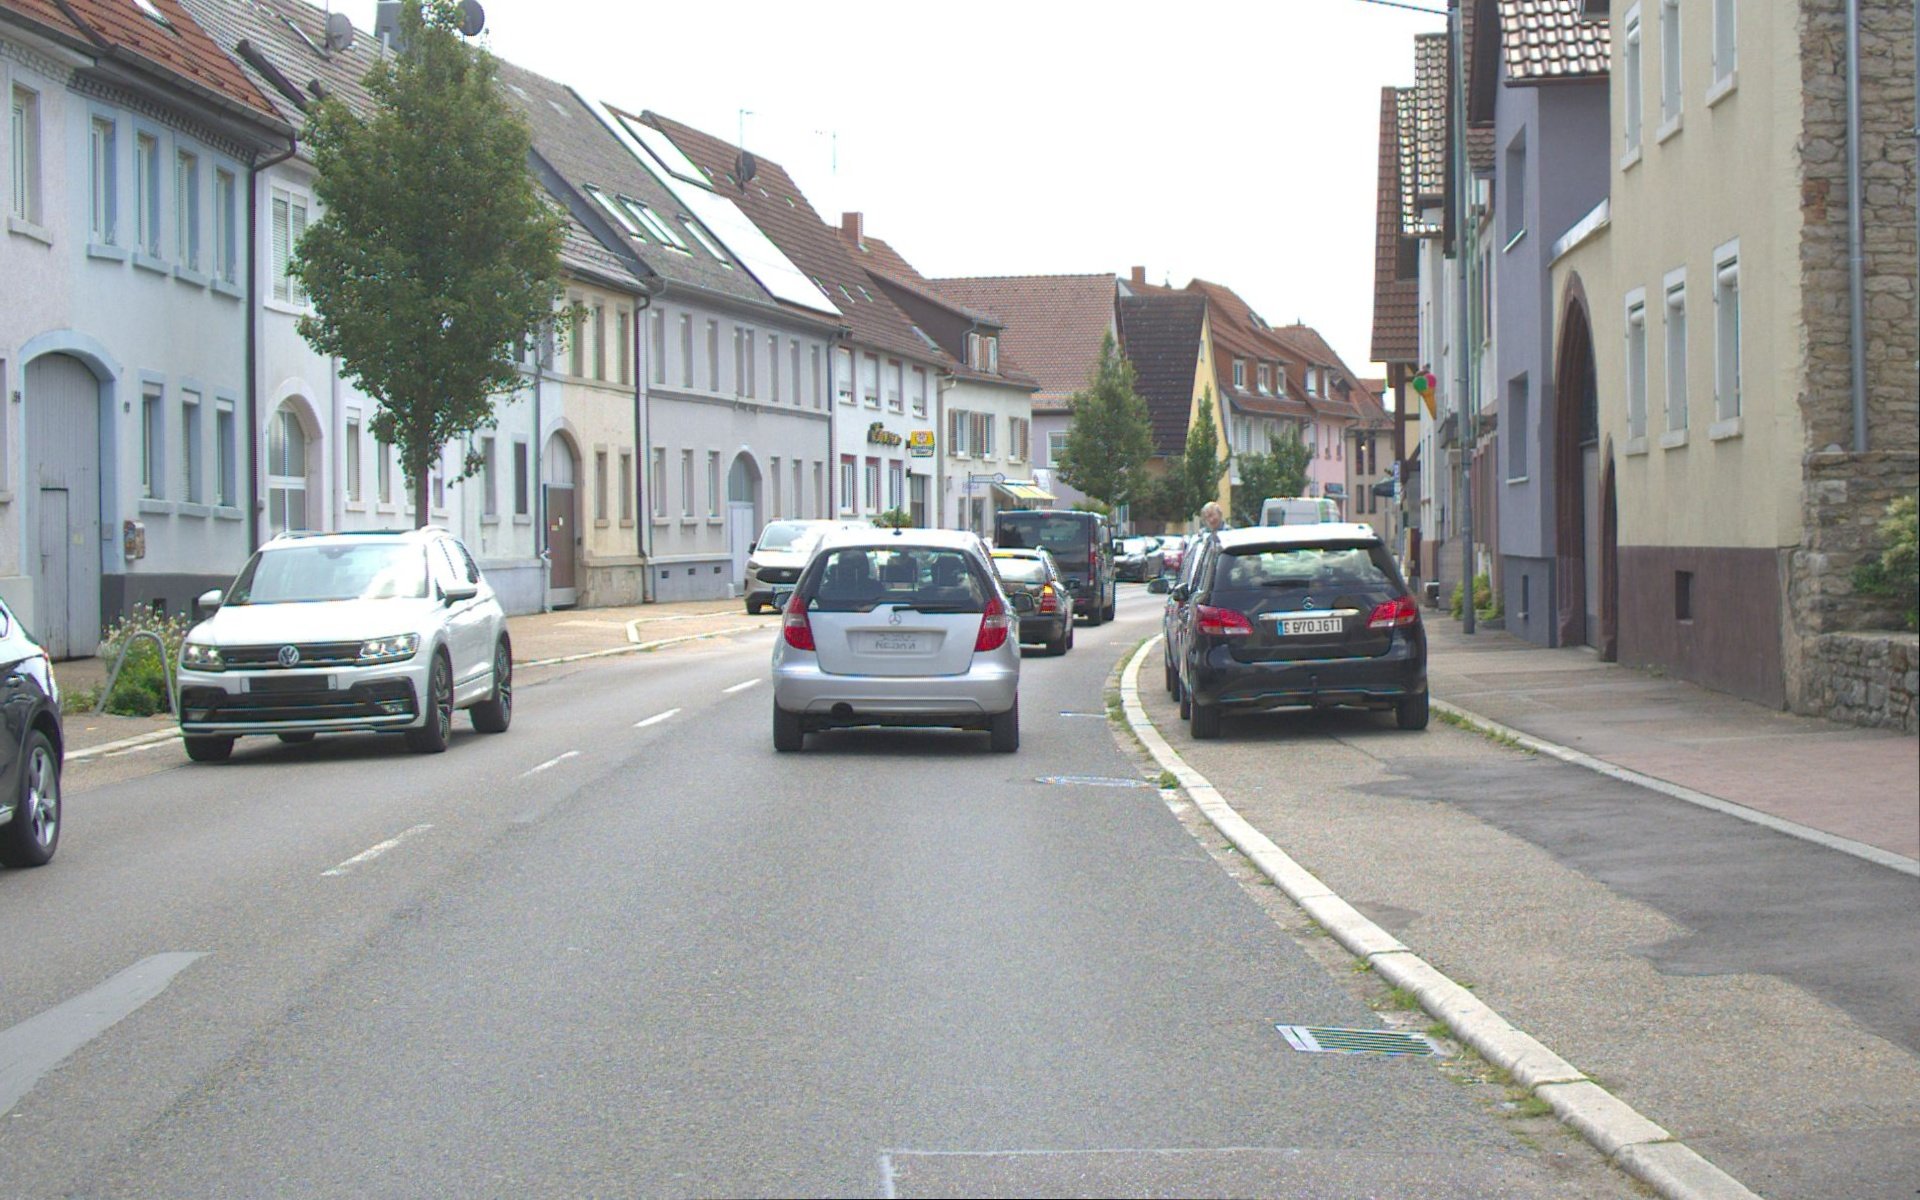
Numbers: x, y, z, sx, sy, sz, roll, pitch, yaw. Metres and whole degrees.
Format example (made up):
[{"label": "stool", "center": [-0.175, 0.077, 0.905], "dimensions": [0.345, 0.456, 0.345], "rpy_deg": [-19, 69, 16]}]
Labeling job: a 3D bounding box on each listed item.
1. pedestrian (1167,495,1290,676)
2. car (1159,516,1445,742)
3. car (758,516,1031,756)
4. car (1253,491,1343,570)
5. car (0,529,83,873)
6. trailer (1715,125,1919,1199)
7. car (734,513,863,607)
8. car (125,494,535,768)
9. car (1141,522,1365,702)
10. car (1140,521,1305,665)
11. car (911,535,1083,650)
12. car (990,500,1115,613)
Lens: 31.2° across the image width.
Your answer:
[{"label": "pedestrian", "center": [2.776, -0.158, 35.396], "dimensions": [1.095, 1.815, 1.469], "rpy_deg": [-1, 1, 10]}, {"label": "car", "center": [2.600, 0.164, 26.650], "dimensions": [1.994, 1.554, 4.000], "rpy_deg": [-2, 1, 4]}, {"label": "car", "center": [-0.411, 0.232, 25.648], "dimensions": [1.769, 1.589, 4.000], "rpy_deg": [2, 0, 2]}, {"label": "car", "center": [9.950, -2.012, 101.032], "dimensions": [2.237, 2.214, 3.998], "rpy_deg": [-1, 0, 11]}, {"label": "car", "center": [-5.160, 0.494, 14.611], "dimensions": [1.743, 1.521, 4.020], "rpy_deg": [-2, 1, 1]}, {"label": "trailer", "center": [3.016, 0.140, 7.205], "dimensions": [1.844, 2.346, 3.590], "rpy_deg": [-1, 1, -4]}, {"label": "car", "center": [-3.303, -0.844, 71.161], "dimensions": [2.092, 1.877, 3.999], "rpy_deg": [-1, 1, 6]}, {"label": "car", "center": [-4.610, 0.165, 25.905], "dimensions": [1.954, 1.778, 4.652], "rpy_deg": [-3, 1, 3]}, {"label": "car", "center": [2.684, 0.091, 32.268], "dimensions": [1.861, 1.526, 4.196], "rpy_deg": [-1, 0, 2]}, {"label": "car", "center": [3.216, -0.097, 41.787], "dimensions": [1.861, 1.620, 4.196], "rpy_deg": [-1, 0, 5]}, {"label": "car", "center": [0.541, -0.105, 45.911], "dimensions": [1.945, 1.402, 3.999], "rpy_deg": [2, 0, 5]}, {"label": "car", "center": [1.667, -0.751, 60.632], "dimensions": [1.769, 1.881, 4.446], "rpy_deg": [2, 0, 7]}]
